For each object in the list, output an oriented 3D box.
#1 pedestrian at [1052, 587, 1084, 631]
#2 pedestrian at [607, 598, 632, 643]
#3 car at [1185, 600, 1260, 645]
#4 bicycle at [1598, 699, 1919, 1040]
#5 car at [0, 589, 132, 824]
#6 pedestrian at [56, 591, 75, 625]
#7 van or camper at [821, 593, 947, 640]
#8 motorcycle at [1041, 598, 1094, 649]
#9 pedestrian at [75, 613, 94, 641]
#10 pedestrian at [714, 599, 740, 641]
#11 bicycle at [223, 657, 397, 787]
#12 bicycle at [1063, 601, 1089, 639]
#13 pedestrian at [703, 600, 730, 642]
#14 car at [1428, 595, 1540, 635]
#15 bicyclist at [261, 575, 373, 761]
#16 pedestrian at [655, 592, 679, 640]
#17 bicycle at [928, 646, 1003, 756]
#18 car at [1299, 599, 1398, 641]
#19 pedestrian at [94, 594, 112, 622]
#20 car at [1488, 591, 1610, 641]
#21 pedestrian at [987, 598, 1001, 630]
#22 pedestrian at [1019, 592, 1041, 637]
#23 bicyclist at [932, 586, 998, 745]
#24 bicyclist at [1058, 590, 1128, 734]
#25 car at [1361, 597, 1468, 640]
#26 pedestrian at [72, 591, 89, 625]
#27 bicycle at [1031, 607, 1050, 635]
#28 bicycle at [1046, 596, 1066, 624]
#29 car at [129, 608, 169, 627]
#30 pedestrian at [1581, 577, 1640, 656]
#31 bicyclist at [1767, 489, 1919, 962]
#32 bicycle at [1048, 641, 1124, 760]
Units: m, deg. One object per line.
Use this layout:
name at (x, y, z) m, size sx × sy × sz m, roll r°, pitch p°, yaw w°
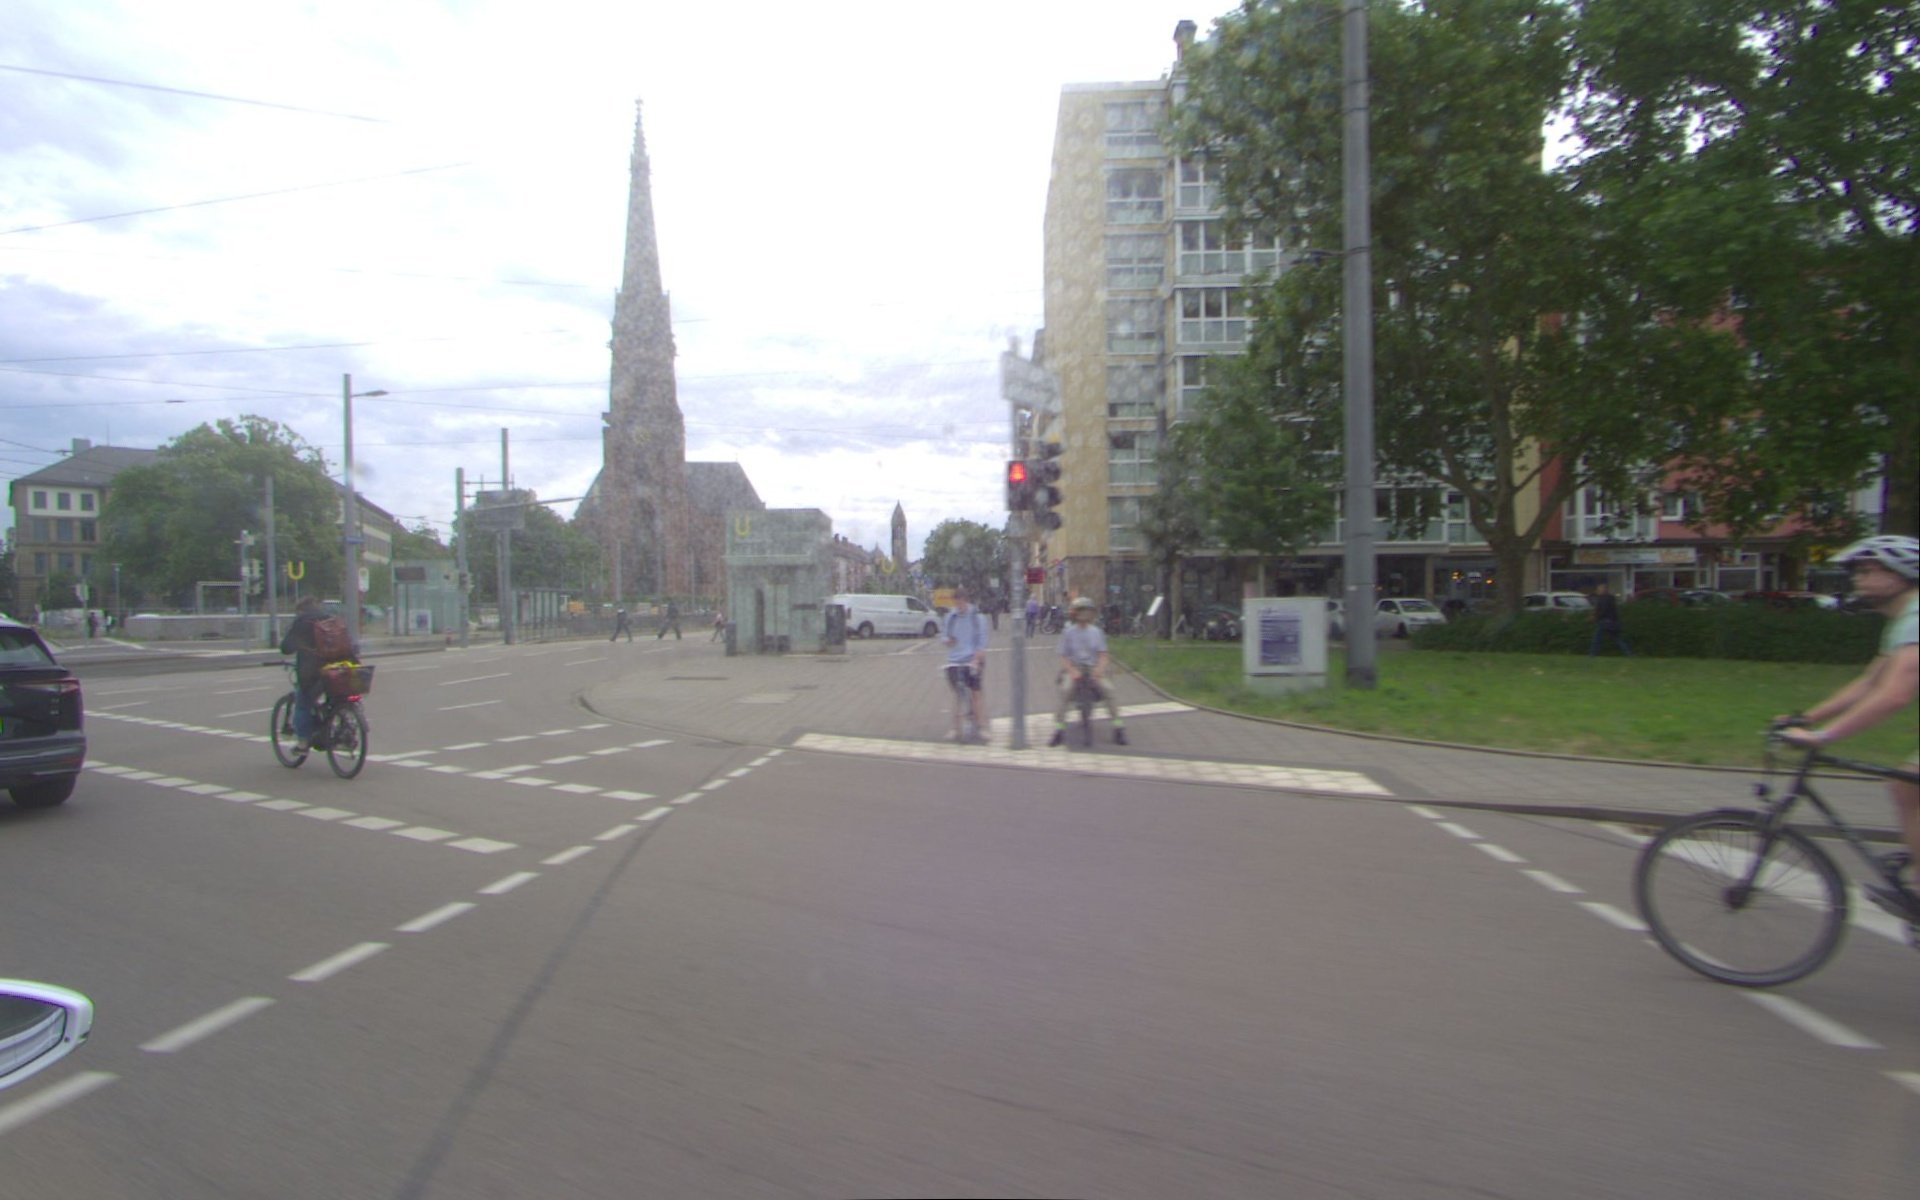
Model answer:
pedestrian at (4.429, 0.354, 41.048) m, size 1.031 × 1.781 × 0.786 m, roll -1°, pitch 2°, yaw -19°
pedestrian at (-13.078, 0.775, 38.468) m, size 0.889 × 1.665 × 0.782 m, roll -1°, pitch 1°, yaw -20°
car at (9.659, 0.798, 37.186) m, size 1.806 × 1.462 × 4.165 m, roll -1°, pitch 1°, yaw 2°
bicycle at (3.580, 0.987, 3.769) m, size 1.988 × 1.093 × 0.759 m, roll 0°, pitch -1°, yaw 33°
car at (-8.903, 0.781, 8.075) m, size 4.445 × 1.680 × 1.901 m, roll 0°, pitch 1°, yaw 29°
pedestrian at (-113.942, 0.985, 127.519) m, size 1.327 × 4.311 × 1.384 m, roll 0°, pitch 1°, yaw 32°
van or camper at (-3.426, 0.724, 45.758) m, size 5.398 × 2.005 × 2.156 m, roll -1°, pitch 0°, yaw -37°
motorcycle at (3.093, 0.664, 29.068) m, size 1.027 × 1.384 × 2.292 m, roll -3°, pitch 0°, yaw -6°
pedestrian at (-59.002, 1.808, 67.477) m, size 0.816 × 1.832 × 1.013 m, roll -3°, pitch 1°, yaw -39°
pedestrian at (-9.136, 0.778, 39.282) m, size 0.881 × 1.623 × 0.782 m, roll -1°, pitch 1°, yaw -20°
bicycle at (-6.387, 1.137, 9.797) m, size 2.096 × 1.069 × 0.623 m, roll 0°, pitch 1°, yaw 33°
bicycle at (4.513, 0.773, 39.071) m, size 0.886 × 1.396 × 2.783 m, roll -1°, pitch 1°, yaw 5°
pedestrian at (-9.700, 0.837, 39.912) m, size 0.935 × 1.633 × 0.766 m, roll -1°, pitch 1°, yaw -20°
car at (19.414, 0.524, 37.303) m, size 1.801 × 1.353 × 3.997 m, roll -1°, pitch 1°, yaw -6°
bicyclist at (-6.199, 0.624, 9.660) m, size 0.794 × 1.713 × 0.614 m, roll 1°, pitch 1°, yaw 33°
pedestrian at (-12.127, 0.648, 41.455) m, size 0.889 × 1.938 × 0.782 m, roll -1°, pitch 1°, yaw -20°
bicycle at (0.101, 1.145, 11.860) m, size 0.568 × 1.012 × 1.990 m, roll -2°, pitch 2°, yaw 8°
car at (14.565, 0.732, 37.795) m, size 1.961 × 1.483 × 3.999 m, roll -1°, pitch 0°, yaw -4°
pedestrian at (-57.632, 0.512, 67.346) m, size 0.817 × 1.878 × 1.013 m, roll -2°, pitch 1°, yaw -39°
car at (21.897, 0.585, 37.437) m, size 1.961 × 1.746 × 3.999 m, roll -1°, pitch 0°, yaw -6°
pedestrian at (1.851, 0.749, 54.518) m, size 0.606 × 1.739 × 0.823 m, roll -1°, pitch 2°, yaw -8°
pedestrian at (2.786, 0.567, 39.770) m, size 0.797 × 1.761 × 0.906 m, roll 0°, pitch 2°, yaw 1°
bicyclist at (0.070, 0.755, 11.810) m, size 0.575 × 1.776 × 0.734 m, roll -3°, pitch 3°, yaw 9°
bicyclist at (1.536, 0.681, 11.466) m, size 0.659 × 1.543 × 0.884 m, roll 0°, pitch 5°, yaw 15°
car at (17.139, 0.645, 37.971) m, size 1.961 × 1.461 × 3.997 m, roll -1°, pitch 1°, yaw -6°
pedestrian at (-112.927, 0.992, 128.598) m, size 1.329 × 4.311 × 1.302 m, roll 0°, pitch 1°, yaw 36°
bicycle at (3.610, 0.930, 44.921) m, size 0.657 × 1.184 × 2.039 m, roll 0°, pitch 1°, yaw 0°
bicycle at (4.289, 0.437, 44.870) m, size 0.657 × 1.184 × 2.039 m, roll 0°, pitch 1°, yaw 0°
car at (-74.307, 1.585, 91.764) m, size 3.947 × 1.684 × 1.903 m, roll -1°, pitch -1°, yaw 36°
pedestrian at (15.442, 0.375, 23.790) m, size 0.881 × 1.844 × 0.865 m, roll 0°, pitch 2°, yaw 11°
bicyclist at (3.657, 0.441, 3.731) m, size 0.920 × 1.639 × 0.787 m, roll 0°, pitch 0°, yaw 32°
bicycle at (1.447, 1.072, 11.231) m, size 0.591 × 1.012 × 1.942 m, roll 0°, pitch 4°, yaw 15°
